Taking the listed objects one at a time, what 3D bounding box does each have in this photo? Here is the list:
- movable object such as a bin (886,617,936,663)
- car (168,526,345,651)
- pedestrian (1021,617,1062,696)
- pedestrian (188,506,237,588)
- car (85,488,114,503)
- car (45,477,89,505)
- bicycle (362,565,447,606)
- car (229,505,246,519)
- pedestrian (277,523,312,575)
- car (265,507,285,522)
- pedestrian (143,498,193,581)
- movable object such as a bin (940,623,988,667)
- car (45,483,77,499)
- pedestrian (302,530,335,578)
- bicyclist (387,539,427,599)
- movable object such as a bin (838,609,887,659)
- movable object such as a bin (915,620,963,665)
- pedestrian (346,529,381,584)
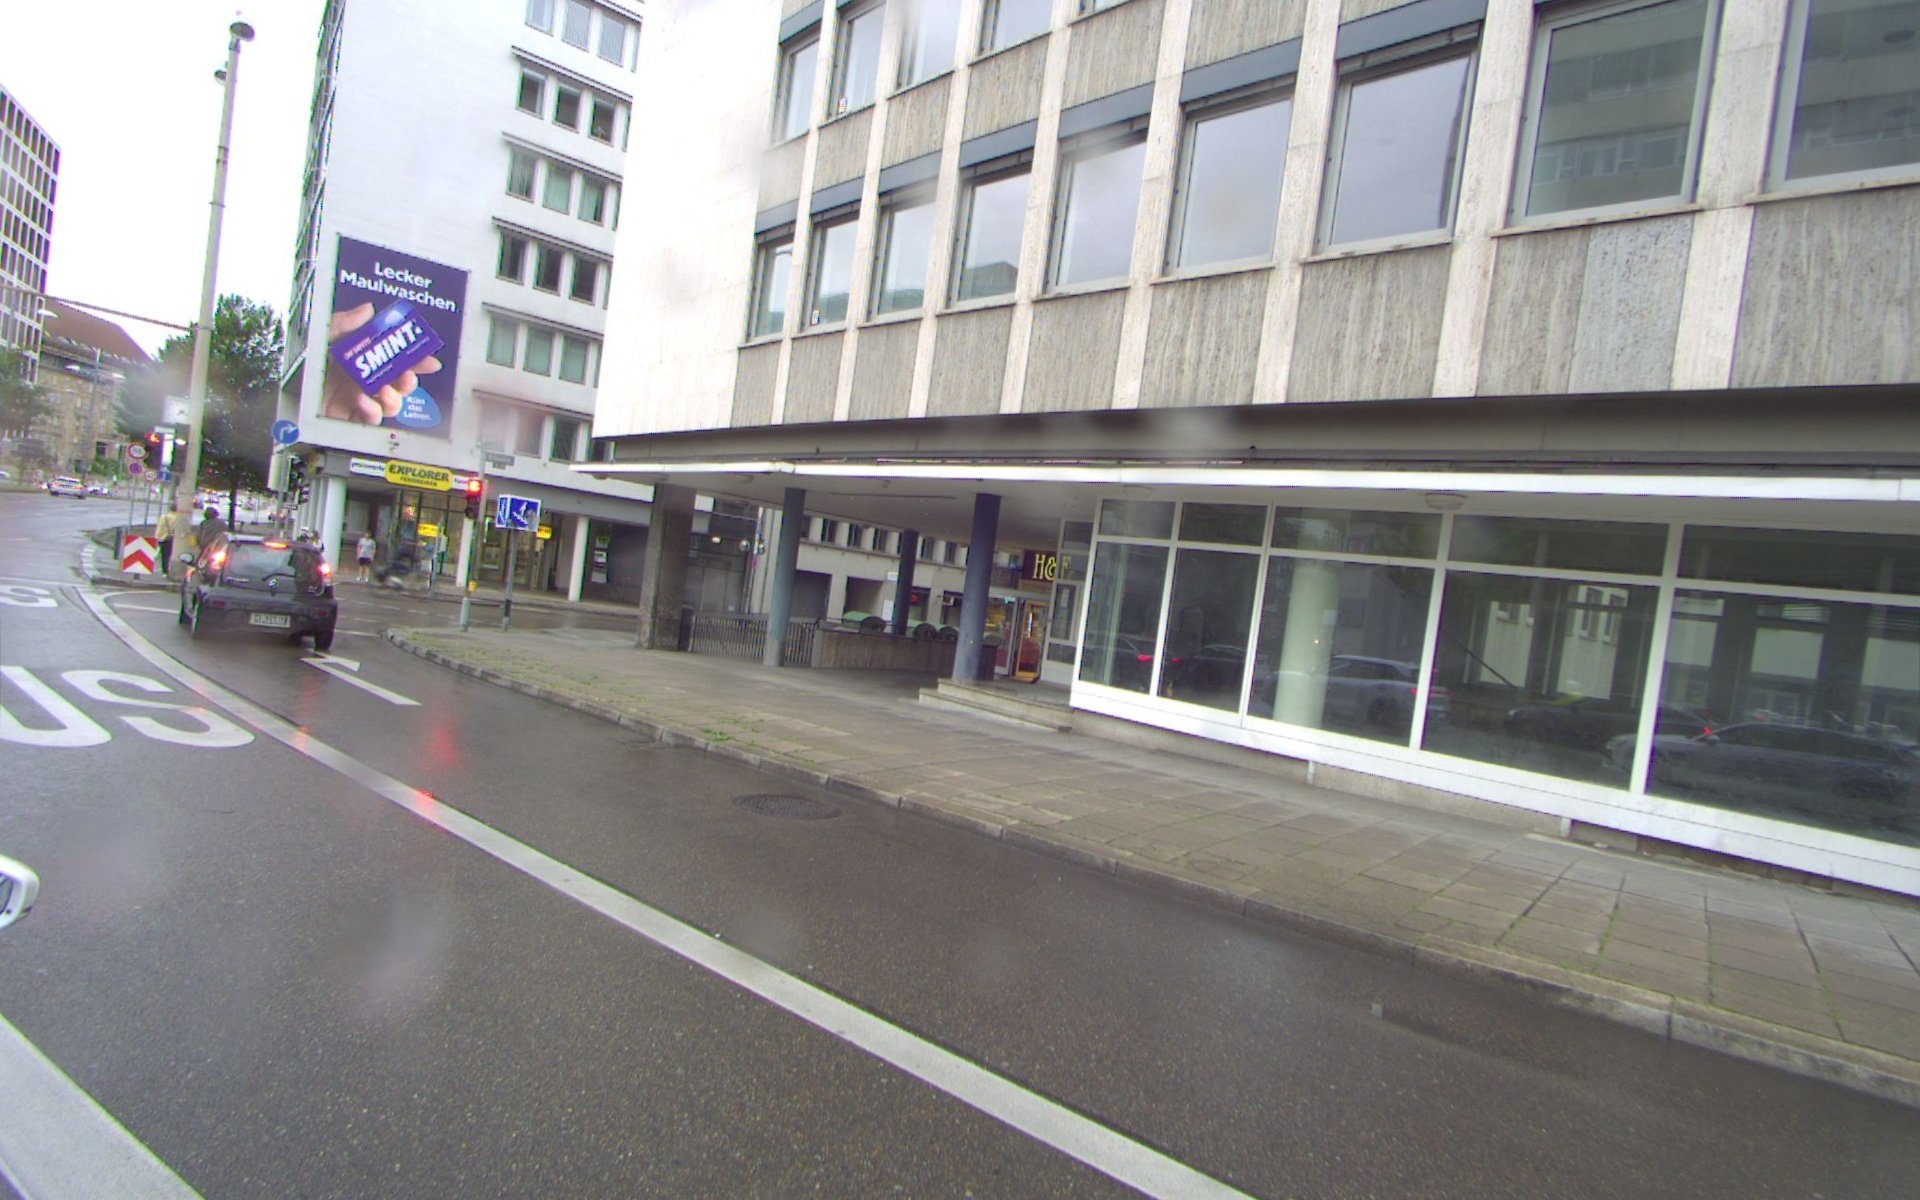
[{"bbox_3d":[-1.721,1.410,35.203,1.095,1.399,1.186,7,1,-37],"label":"movable object such as a bin"},{"bbox_3d":[-10.458,-0.231,14.837,1.566,1.446,3.953,9,-2,-42],"label":"car"},{"bbox_3d":[2.005,1.391,24.691,0.697,1.825,0.801,8,0,12],"label":"pedestrian"},{"bbox_3d":[-17.731,-1.264,23.870,0.745,1.820,0.808,7,1,-38],"label":"pedestrian"},{"bbox_3d":[-112.218,-13.617,131.221,1.979,1.506,3.968,8,0,-30],"label":"car"},{"bbox_3d":[-67.025,-8.183,75.584,1.878,1.662,3.962,8,-1,-35],"label":"car"},{"bbox_3d":[-15.863,-0.411,28.789,2.018,0.899,0.398,9,-1,-41],"label":"bicycle"},{"bbox_3d":[-126.611,-15.421,176.320,1.980,2.037,3.968,8,-1,-31],"label":"car"},{"bbox_3d":[-22.898,-1.730,34.630,0.660,1.675,0.651,8,0,-15],"label":"pedestrian"},{"bbox_3d":[-91.656,-11.405,134.612,1.680,1.503,3.973,8,-2,-28],"label":"car"},{"bbox_3d":[-18.523,-1.411,23.546,0.745,1.820,0.808,7,1,-38],"label":"pedestrian"},{"bbox_3d":[0.154,1.638,36.635,1.095,1.399,1.186,7,1,-37],"label":"movable object such as a bin"},{"bbox_3d":[-110.792,-13.459,124.001,1.979,1.506,3.968,8,0,-30],"label":"car"},{"bbox_3d":[-22.185,-1.581,34.784,0.616,1.561,0.651,8,0,-15],"label":"pedestrian"},{"bbox_3d":[-15.816,-0.889,28.778,0.764,1.588,0.527,7,0,-40],"label":"bicyclist"},{"bbox_3d":[-3.267,1.133,33.516,0.961,1.447,1.268,7,1,-36],"label":"movable object such as a bin"},{"bbox_3d":[-0.750,1.511,35.947,1.095,1.399,1.186,7,1,-37],"label":"movable object such as a bin"},{"bbox_3d":[-20.937,-1.528,35.337,0.660,1.815,0.771,7,0,-15],"label":"pedestrian"}]
